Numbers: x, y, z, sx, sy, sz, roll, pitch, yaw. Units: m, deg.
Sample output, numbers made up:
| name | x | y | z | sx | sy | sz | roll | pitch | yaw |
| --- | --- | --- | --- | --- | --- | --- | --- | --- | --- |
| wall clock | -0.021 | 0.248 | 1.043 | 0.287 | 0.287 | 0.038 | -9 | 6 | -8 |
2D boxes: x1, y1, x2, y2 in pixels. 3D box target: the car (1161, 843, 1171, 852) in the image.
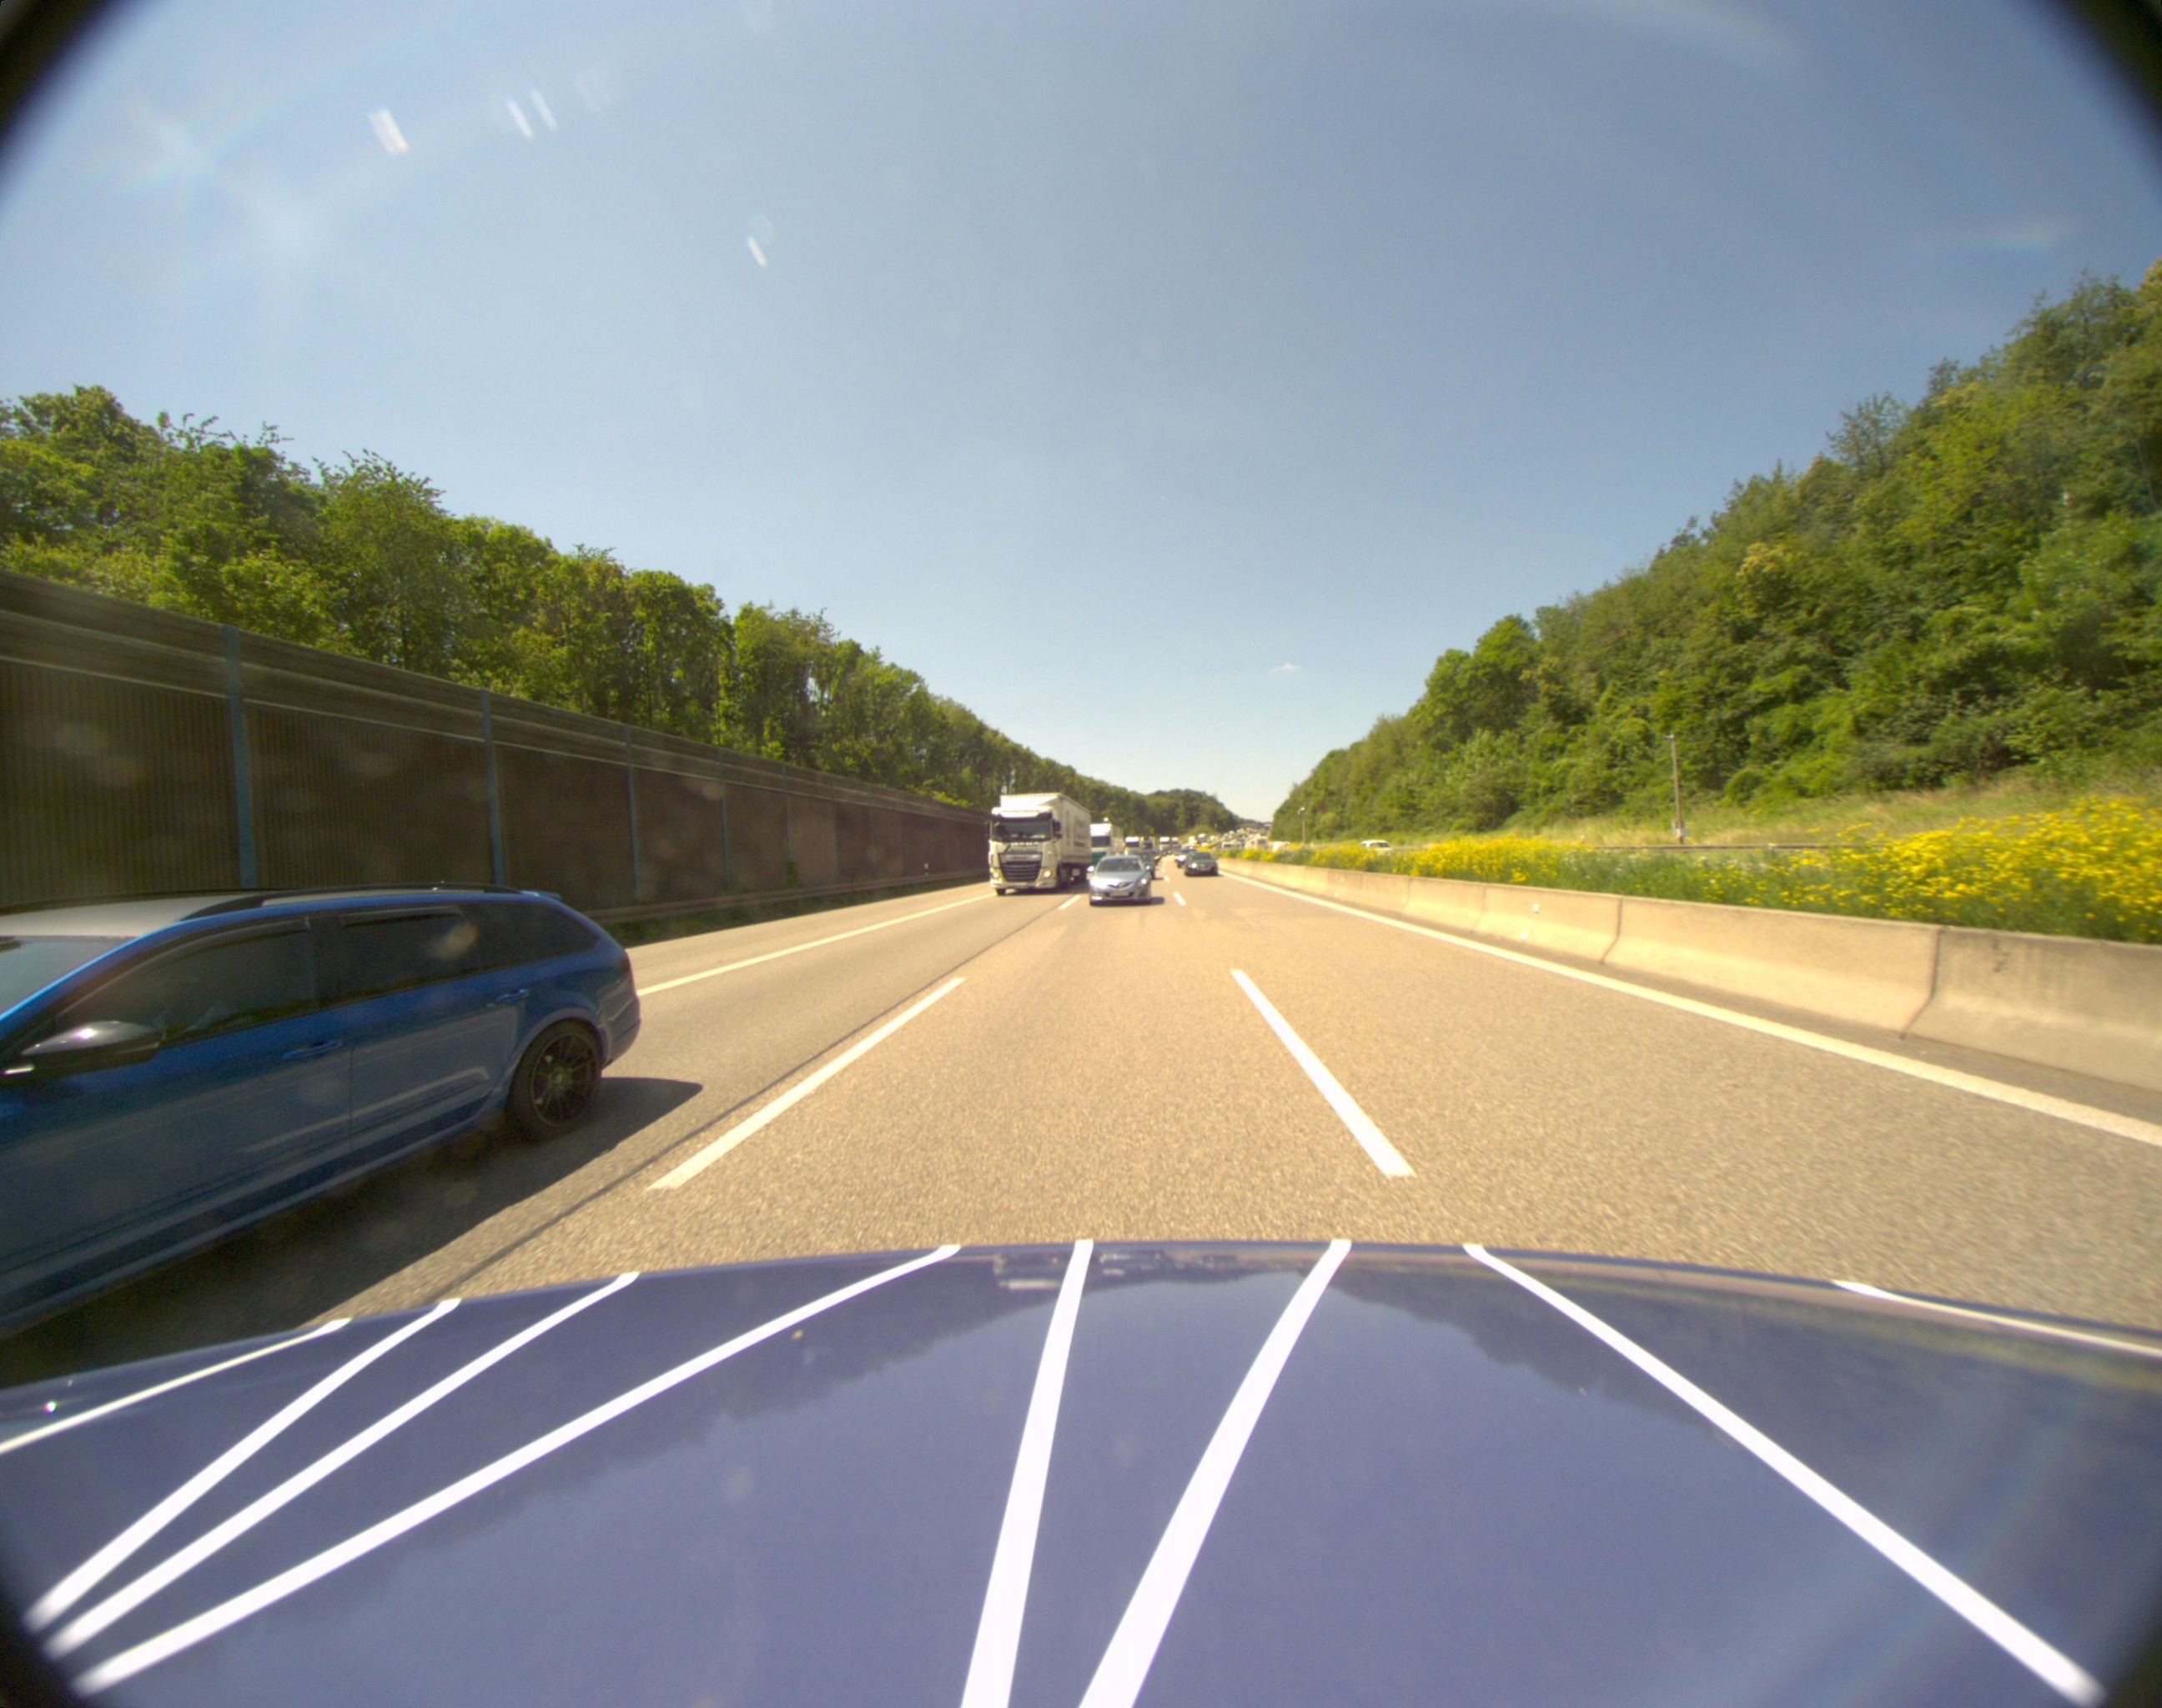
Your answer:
| name | x | y | z | sx | sy | sz | roll | pitch | yaw |
| --- | --- | --- | --- | --- | --- | --- | --- | --- | --- |
| car | 18.080 | -1.321 | 160.834 | 1.997 | 1.729 | 4.001 | -2 | 2 | 8 |

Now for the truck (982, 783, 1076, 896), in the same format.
| name | x | y | z | sx | sy | sz | roll | pitch | yaw |
| --- | --- | --- | --- | --- | --- | --- | --- | --- | --- |
| truck | -1.982 | -0.555 | 31.724 | 2.791 | 4.180 | 5.872 | -2 | 0 | 6 |

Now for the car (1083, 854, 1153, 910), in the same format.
| name | x | y | z | sx | sy | sz | roll | pitch | yaw |
| --- | --- | --- | --- | --- | --- | --- | --- | --- | --- |
| car | 1.193 | 0.773 | 23.178 | 1.886 | 1.459 | 4.248 | -2 | 0 | 5 |

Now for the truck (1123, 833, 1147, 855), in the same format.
| name | x | y | z | sx | sy | sz | roll | pitch | yaw |
| --- | --- | --- | --- | --- | --- | --- | --- | --- | --- |
| truck | 9.130 | -1.742 | 128.051 | 3.261 | 3.337 | 6.866 | -2 | 2 | 10 |

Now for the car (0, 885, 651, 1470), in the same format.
| name | x | y | z | sx | sy | sz | roll | pitch | yaw |
| --- | --- | --- | --- | --- | --- | --- | --- | --- | --- |
| car | -3.894 | 1.032 | 2.903 | 1.654 | 1.474 | 4.481 | -2 | 2 | 4 |

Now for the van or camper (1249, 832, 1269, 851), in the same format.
| name | x | y | z | sx | sy | sz | roll | pitch | yaw |
| --- | --- | --- | --- | --- | --- | --- | --- | --- | --- |
| van or camper | 33.549 | -2.413 | 143.446 | 2.545 | 3.299 | 9.003 | -2 | 2 | 5 |

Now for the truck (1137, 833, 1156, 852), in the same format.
| name | x | y | z | sx | sy | sz | roll | pitch | yaw |
| --- | --- | --- | --- | --- | --- | --- | --- | --- | --- |
| truck | 13.827 | -2.396 | 159.901 | 3.556 | 3.695 | 7.552 | -2 | 2 | 6 |

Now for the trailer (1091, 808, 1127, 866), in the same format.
| name | x | y | z | sx | sy | sz | roll | pitch | yaw |
| --- | --- | --- | --- | --- | --- | --- | --- | --- | --- |
| trailer | 2.947 | -1.752 | 74.393 | 2.573 | 5.012 | 15.273 | -2 | 2 | 5 |

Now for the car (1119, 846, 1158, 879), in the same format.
| name | x | y | z | sx | sy | sz | roll | pitch | yaw |
| --- | --- | --- | --- | --- | --- | --- | --- | --- | --- |
| car | 3.225 | 0.428 | 41.882 | 1.886 | 1.696 | 4.086 | -2 | 1 | 7 |

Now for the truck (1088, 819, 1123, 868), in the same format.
| name | x | y | z | sx | sy | sz | roll | pitch | yaw |
| --- | --- | --- | --- | --- | --- | --- | --- | --- | --- |
| truck | 2.194 | -0.970 | 66.019 | 2.541 | 4.007 | 6.626 | -2 | 2 | 5 |

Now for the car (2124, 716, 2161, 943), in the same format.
| name | x | y | z | sx | sy | sz | roll | pitch | yaw |
| --- | --- | --- | --- | --- | --- | --- | --- | --- | --- |
| car | 14.534 | -0.309 | 6.229 | 2.073 | 2.879 | 7.463 | -2 | 1 | 4 |

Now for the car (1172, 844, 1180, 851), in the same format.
| name | x | y | z | sx | sy | sz | roll | pitch | yaw |
| --- | --- | --- | --- | --- | --- | --- | --- | --- | --- |
| car | 26.361 | -1.904 | 210.379 | 1.997 | 1.729 | 4.002 | -2 | 2 | 11 |

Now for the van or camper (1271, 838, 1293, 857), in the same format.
| name | x | y | z | sx | sy | sz | roll | pitch | yaw |
| --- | --- | --- | --- | --- | --- | --- | --- | --- | --- |
| van or camper | 22.742 | -0.768 | 86.188 | 1.696 | 2.001 | 4.214 | -2 | 1 | 5 |

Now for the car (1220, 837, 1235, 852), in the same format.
| name | x | y | z | sx | sy | sz | roll | pitch | yaw |
| --- | --- | --- | --- | --- | --- | --- | --- | --- | --- |
| car | 28.322 | -1.852 | 146.712 | 2.205 | 2.725 | 5.748 | -2 | 0 | 5 |

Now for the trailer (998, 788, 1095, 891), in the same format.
| name | x | y | z | sx | sy | sz | roll | pitch | yaw |
| --- | --- | --- | --- | --- | --- | --- | --- | --- | --- |
| trailer | -1.306 | -0.627 | 38.140 | 2.791 | 4.180 | 13.248 | -2 | 0 | 6 |

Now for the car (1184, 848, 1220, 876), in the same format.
| name | x | y | z | sx | sy | sz | roll | pitch | yaw |
| --- | --- | --- | --- | --- | --- | --- | --- | --- | --- |
| car | 7.022 | 0.420 | 44.374 | 1.720 | 1.470 | 4.001 | -2 | 1 | 5 |

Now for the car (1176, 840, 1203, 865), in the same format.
| name | x | y | z | sx | sy | sz | roll | pitch | yaw |
| --- | --- | --- | --- | --- | --- | --- | --- | --- | --- |
| car | 9.359 | -0.194 | 65.764 | 1.998 | 2.002 | 4.000 | -2 | 2 | 5 |

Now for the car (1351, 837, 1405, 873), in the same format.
| name | x | y | z | sx | sy | sz | roll | pitch | yaw |
| --- | --- | --- | --- | --- | --- | --- | --- | --- | --- |
| car | 17.951 | 0.020 | 46.075 | 1.882 | 2.002 | 4.000 | -2 | 2 | 4 |

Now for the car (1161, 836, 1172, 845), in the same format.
| name | x | y | z | sx | sy | sz | roll | pitch | yaw |
| --- | --- | --- | --- | --- | --- | --- | --- | --- | --- |
| car | 25.415 | -4.088 | 225.631 | 2.695 | 2.468 | 6.588 | -2 | 2 | 13 |

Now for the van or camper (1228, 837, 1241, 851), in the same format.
| name | x | y | z | sx | sy | sz | roll | pitch | yaw |
| --- | --- | --- | --- | --- | --- | --- | --- | --- | --- |
| van or camper | 34.514 | -2.215 | 171.189 | 2.262 | 2.882 | 6.559 | -2 | 1 | 6 |

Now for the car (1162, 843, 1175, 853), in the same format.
| name | x | y | z | sx | sy | sz | roll | pitch | yaw |
| --- | --- | --- | --- | --- | --- | --- | --- | --- | --- |
| car | 16.219 | -1.095 | 140.607 | 1.997 | 1.729 | 4.002 | -2 | 2 | 9 |

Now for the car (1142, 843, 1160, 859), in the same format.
| name | x | y | z | sx | sy | sz | roll | pitch | yaw |
| --- | --- | --- | --- | --- | --- | --- | --- | --- | --- |
| car | 7.299 | -0.349 | 79.186 | 1.801 | 1.521 | 3.797 | -2 | 0 | 5 |

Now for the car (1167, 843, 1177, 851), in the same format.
| name | x | y | z | sx | sy | sz | roll | pitch | yaw |
| --- | --- | --- | --- | --- | --- | --- | --- | --- | --- |
| car | 21.764 | -1.746 | 182.433 | 1.997 | 1.729 | 4.002 | -2 | 2 | 11 |

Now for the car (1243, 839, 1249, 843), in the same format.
| name | x | y | z | sx | sy | sz | roll | pitch | yaw |
| --- | --- | --- | --- | --- | --- | --- | --- | --- | --- |
| car | 54.471 | -4.320 | 250.831 | 1.791 | 1.448 | 4.001 | -2 | 2 | 7 |
